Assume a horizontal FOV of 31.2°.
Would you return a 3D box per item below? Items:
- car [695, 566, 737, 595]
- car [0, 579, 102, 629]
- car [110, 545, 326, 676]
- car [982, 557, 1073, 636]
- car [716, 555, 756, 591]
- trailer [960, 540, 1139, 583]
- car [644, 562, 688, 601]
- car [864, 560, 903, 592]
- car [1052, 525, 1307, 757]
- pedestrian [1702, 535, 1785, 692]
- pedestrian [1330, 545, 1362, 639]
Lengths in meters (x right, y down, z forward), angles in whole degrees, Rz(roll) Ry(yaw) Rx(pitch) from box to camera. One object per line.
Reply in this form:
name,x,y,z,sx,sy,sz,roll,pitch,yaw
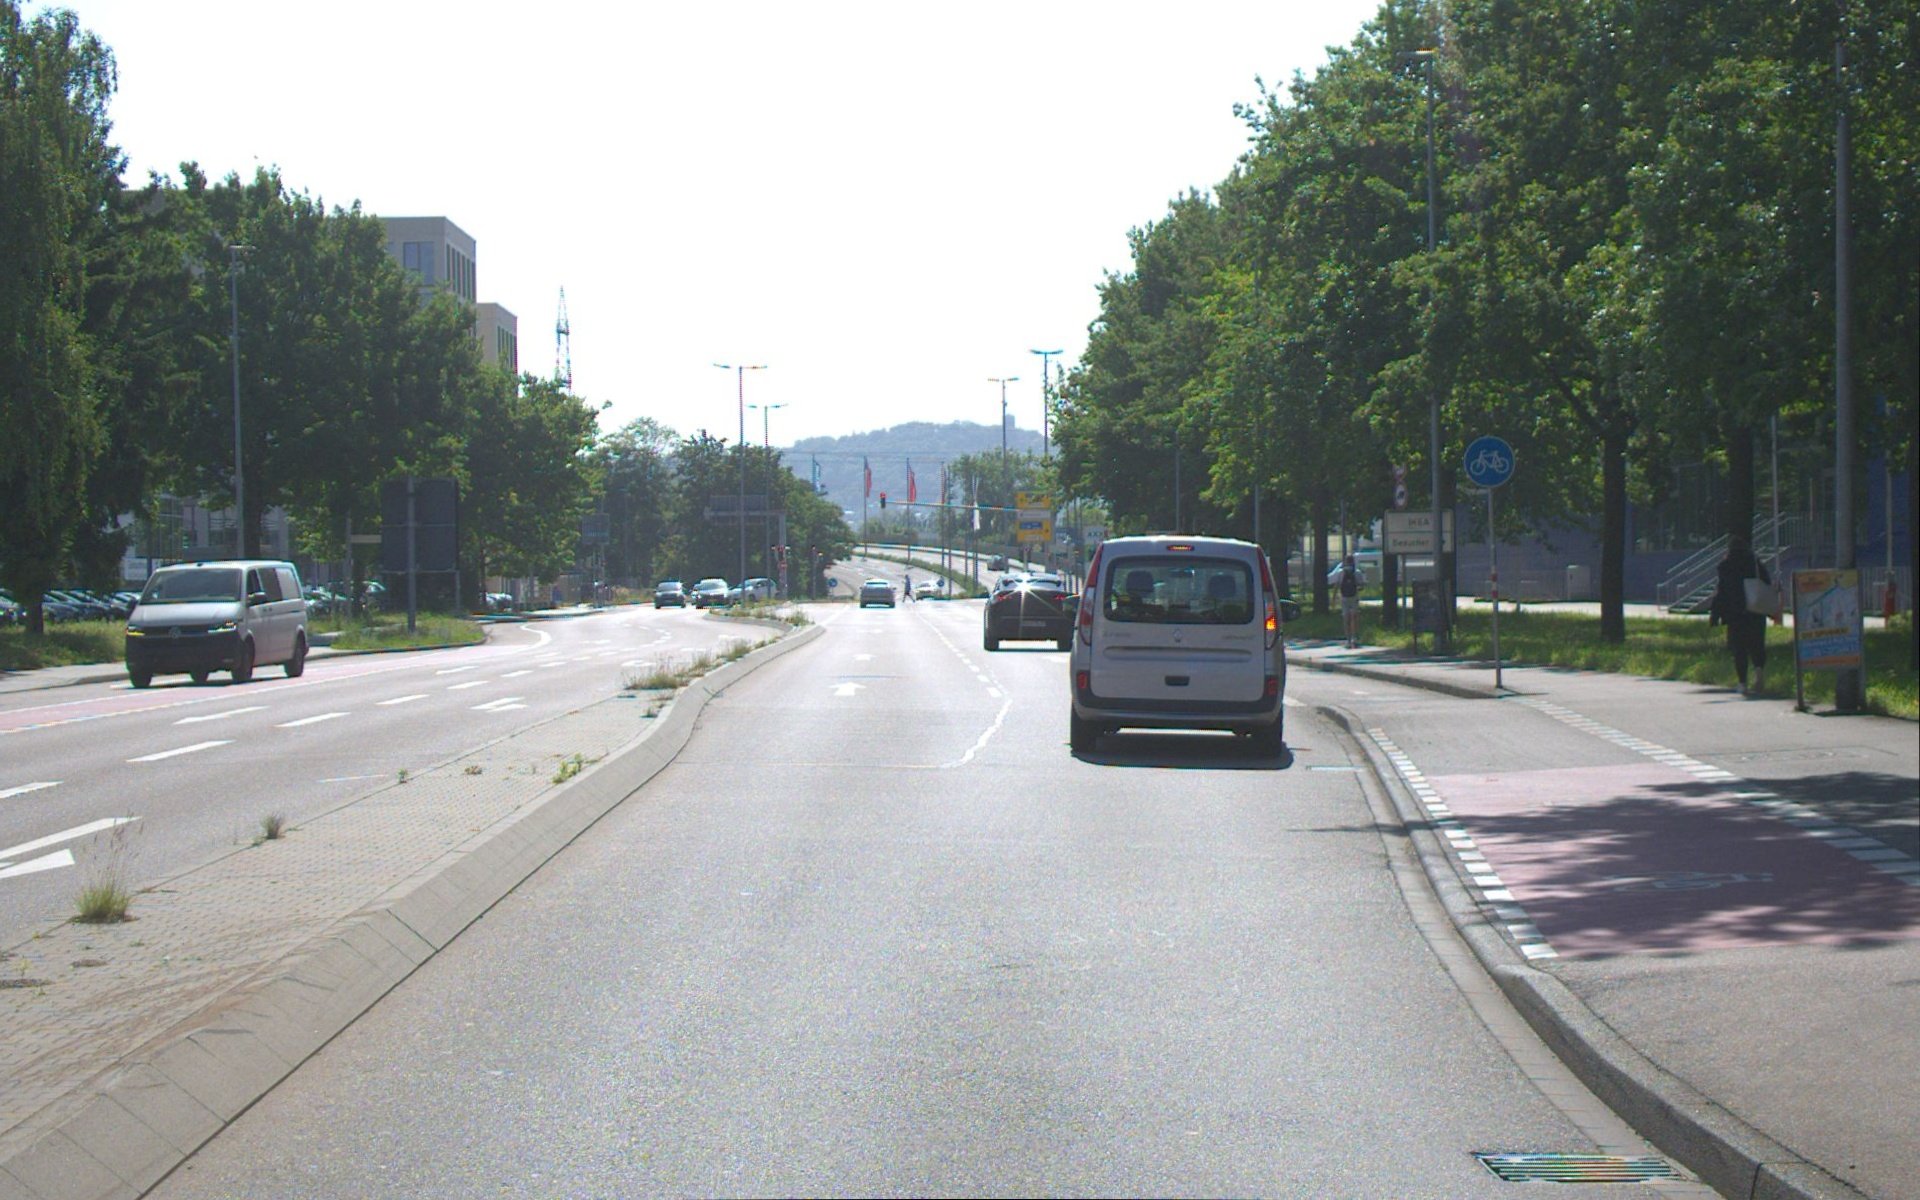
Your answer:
car,-13.078,-1.027,184.621,1.841,1.458,5.000,-3,0,0
car,-26.042,0.118,94.774,4.266,1.346,1.954,-1,0,2
car,-12.030,0.138,56.124,1.994,2.007,5.346,-1,1,4
car,1.480,-0.092,73.866,1.807,1.634,4.458,-1,0,3
car,-13.243,-1.635,203.762,1.993,2.006,4.000,2,2,1
trailer,5.996,-2.573,230.274,11.870,2.461,2.000,2,1,0
car,-16.308,-1.060,190.673,1.993,2.006,4.000,2,2,1
car,-4.095,-1.293,184.730,1.993,1.678,4.000,-1,0,0
car,1.801,0.312,29.436,1.905,1.822,4.180,-1,0,0
pedestrian,8.069,0.136,35.427,0.647,1.598,0.846,-1,0,1
pedestrian,7.608,-0.167,67.770,0.535,1.835,0.728,-1,0,0
